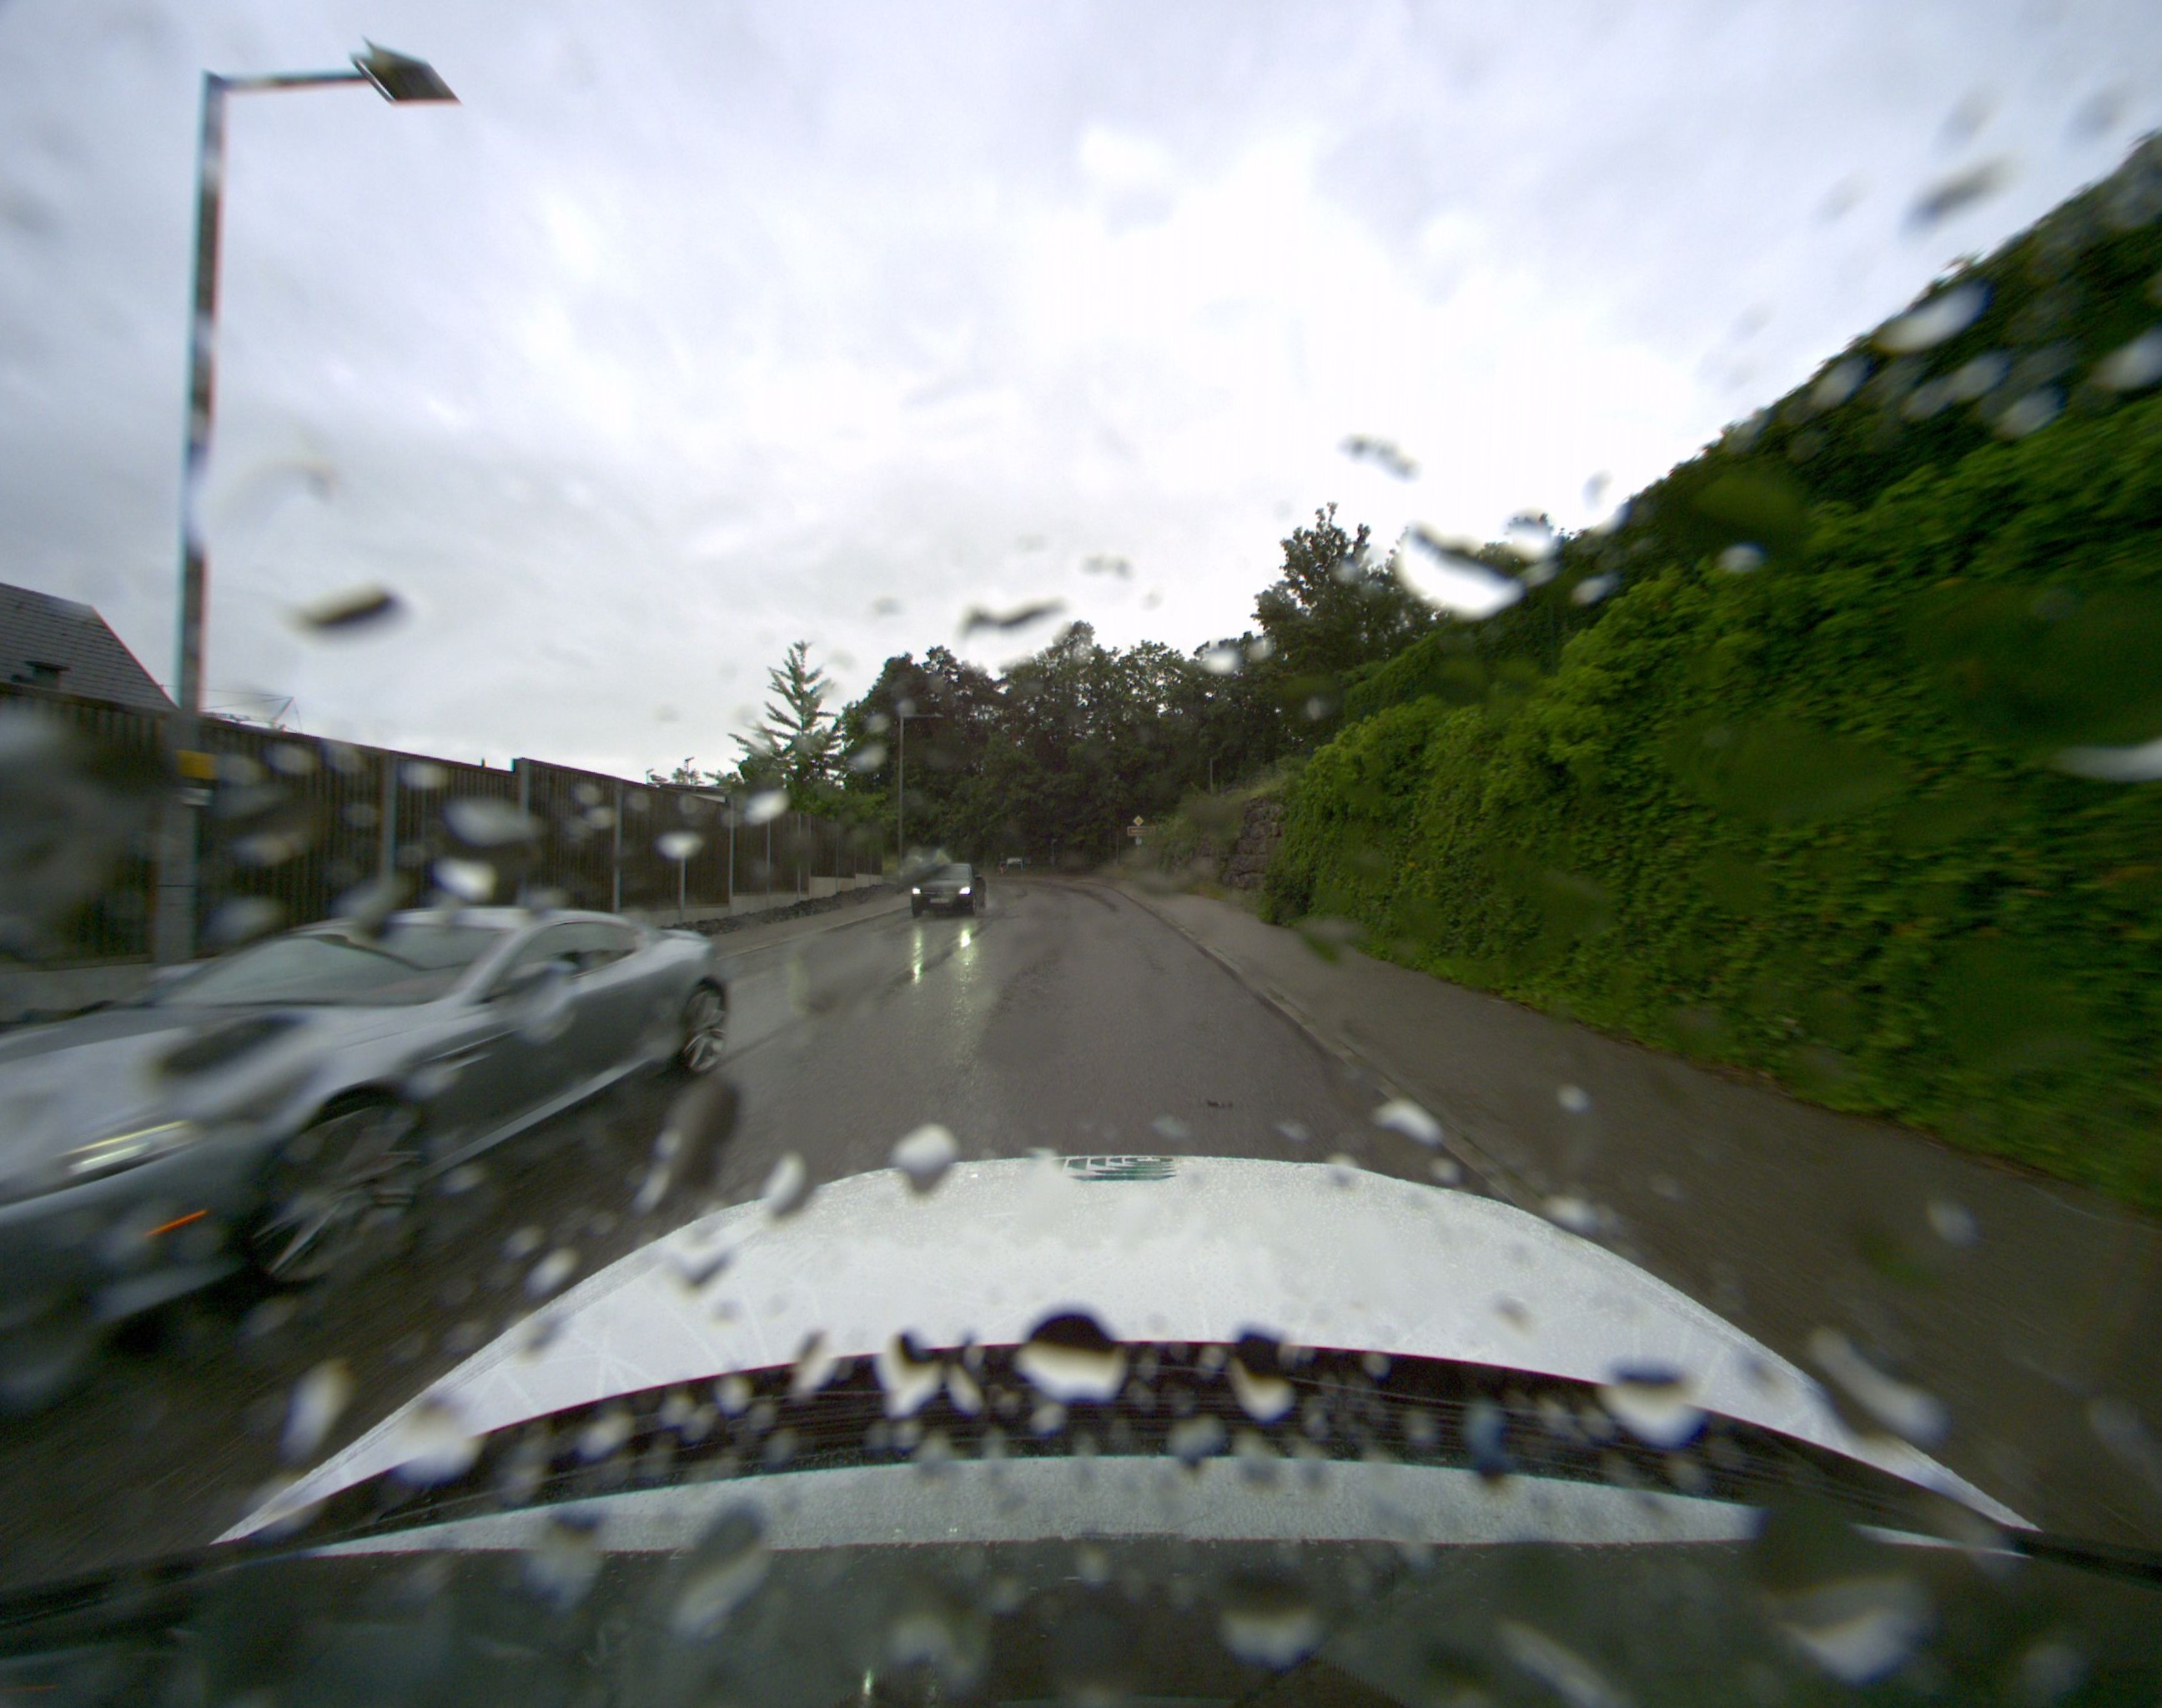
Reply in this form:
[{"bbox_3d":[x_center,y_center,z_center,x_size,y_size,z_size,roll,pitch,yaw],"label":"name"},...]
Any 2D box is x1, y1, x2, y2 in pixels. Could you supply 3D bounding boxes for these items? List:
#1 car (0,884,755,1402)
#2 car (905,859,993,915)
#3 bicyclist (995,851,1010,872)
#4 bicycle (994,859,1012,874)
[{"bbox_3d":[-3.563,0.878,4.356,1.875,1.283,4.209,0,0,1],"label":"car"},{"bbox_3d":[-3.719,0.890,23.627,1.876,1.449,4.207,0,0,-1],"label":"car"},{"bbox_3d":[-5.947,0.584,61.952,0.726,1.615,0.895,1,-1,-40],"label":"bicyclist"},{"bbox_3d":[-5.946,0.942,61.942,0.531,1.085,1.602,1,0,-38],"label":"bicycle"}]
